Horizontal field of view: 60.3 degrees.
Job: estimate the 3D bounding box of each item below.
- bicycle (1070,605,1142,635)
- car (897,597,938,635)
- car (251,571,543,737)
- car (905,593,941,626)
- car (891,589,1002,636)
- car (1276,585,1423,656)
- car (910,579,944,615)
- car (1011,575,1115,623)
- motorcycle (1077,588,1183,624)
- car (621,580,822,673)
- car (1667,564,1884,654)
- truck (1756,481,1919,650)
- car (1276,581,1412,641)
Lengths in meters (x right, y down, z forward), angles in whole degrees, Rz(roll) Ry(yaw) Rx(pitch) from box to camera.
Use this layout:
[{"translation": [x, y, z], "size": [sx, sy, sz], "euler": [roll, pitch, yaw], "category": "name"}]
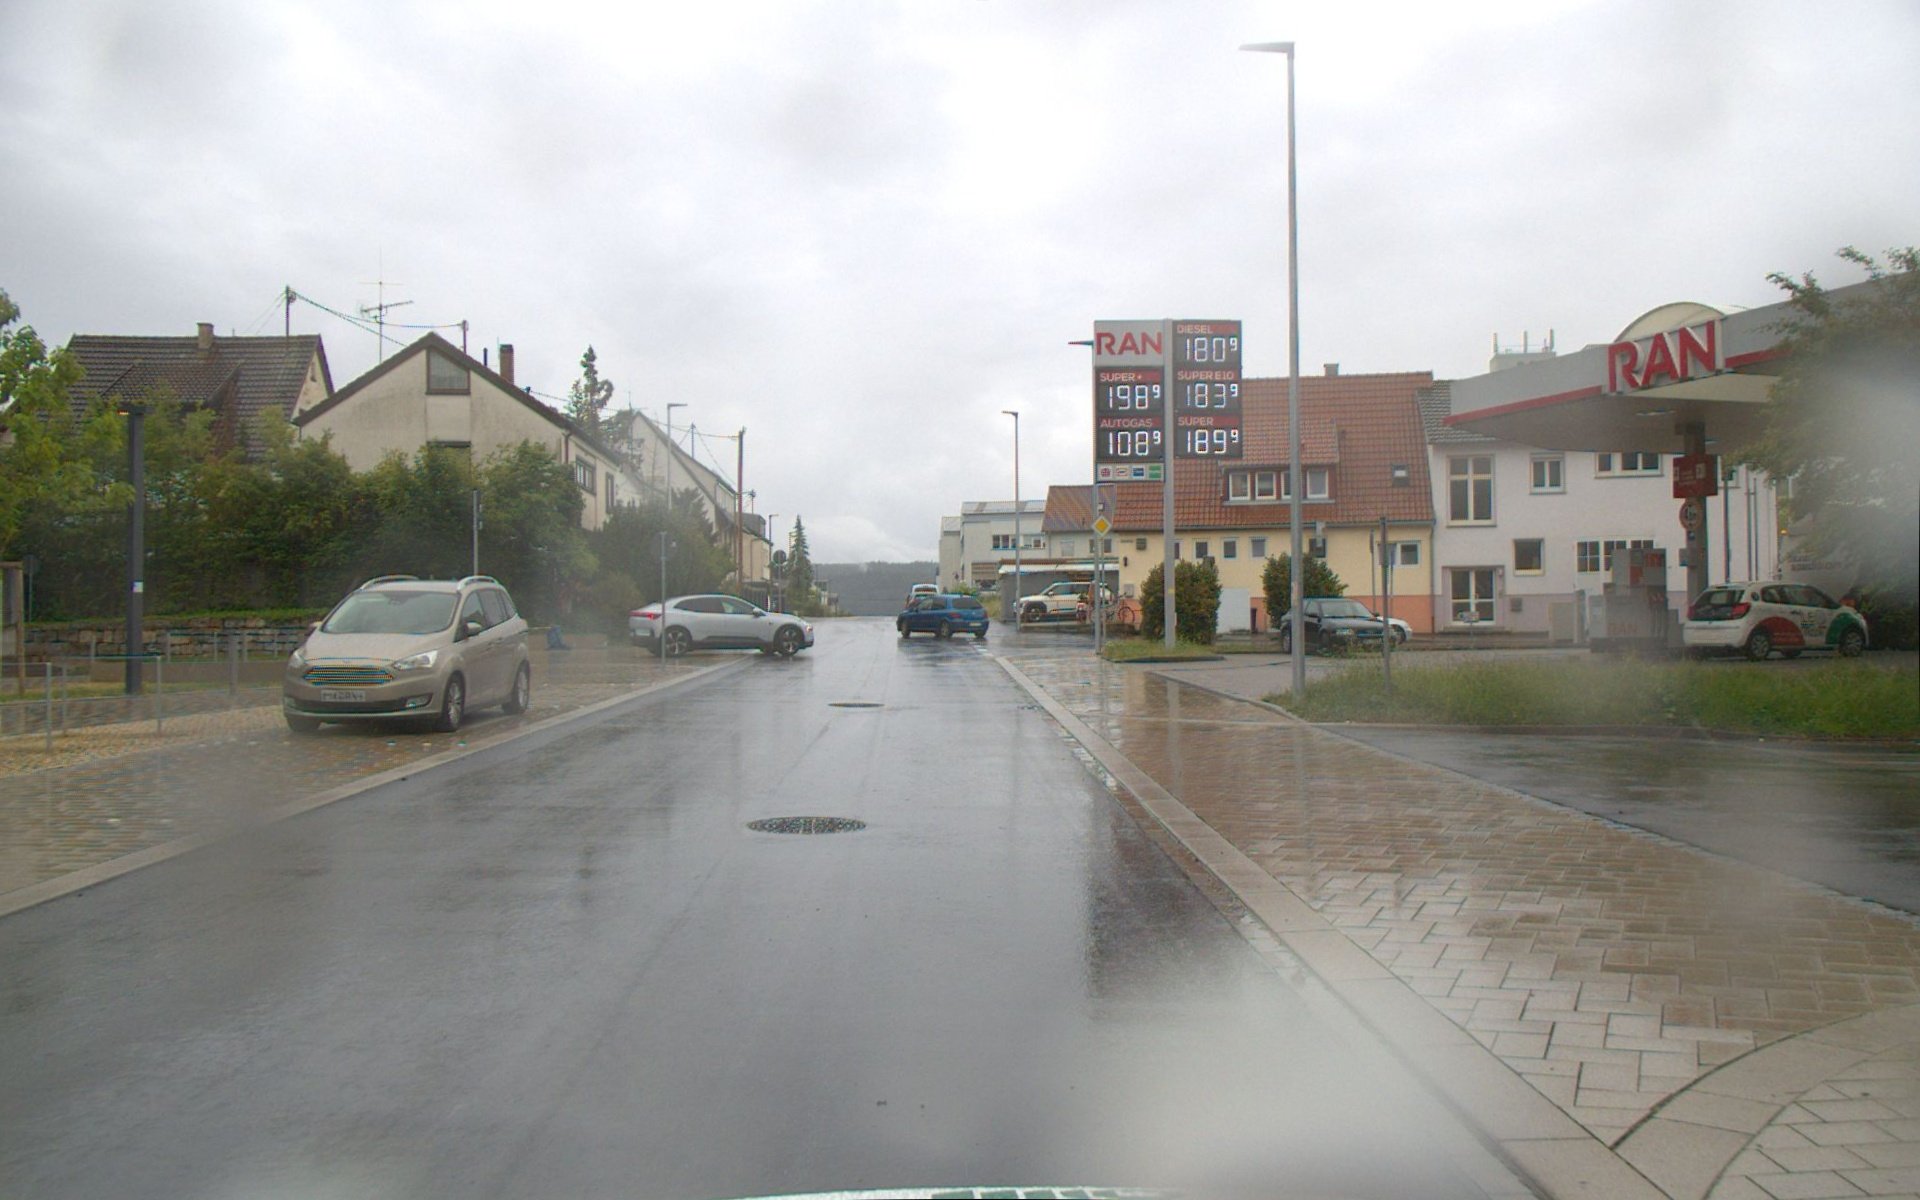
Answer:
[{"translation": [5.461, 0.742, 62.161], "size": [0.662, 1.085, 3.589], "euler": [5, -3, -32], "category": "bicycle"}, {"translation": [-2.157, 0.849, 84.587], "size": [1.953, 1.736, 3.998], "euler": [3, -2, -1], "category": "car"}, {"translation": [-6.252, 0.546, 18.910], "size": [1.953, 1.657, 4.152], "euler": [-1, 0, -1], "category": "car"}, {"translation": [-2.167, 0.576, 97.342], "size": [1.953, 1.736, 3.998], "euler": [3, -2, -1], "category": "car"}, {"translation": [-0.527, 0.443, 59.807], "size": [1.842, 1.519, 3.939], "euler": [5, -3, -42], "category": "car"}, {"translation": [9.562, 0.538, 40.920], "size": [1.959, 1.579, 3.987], "euler": [4, -2, -12], "category": "car"}, {"translation": [-1.839, -0.156, 91.189], "size": [1.747, 1.736, 3.998], "euler": [3, -2, -1], "category": "car"}, {"translation": [4.270, -0.027, 68.766], "size": [4.032, 1.736, 1.787], "euler": [3, -2, -4], "category": "car"}, {"translation": [6.612, 0.230, 64.436], "size": [3.909, 1.173, 1.092], "euler": [2, -3, 26], "category": "motorcycle"}, {"translation": [-6.110, 0.700, 42.392], "size": [4.689, 2.049, 1.986], "euler": [4, -3, -23], "category": "car"}, {"translation": [15.630, 0.201, 31.738], "size": [3.465, 1.583, 1.942], "euler": [2, -2, -21], "category": "car"}, {"translation": [22.919, -0.619, 38.999], "size": [7.597, 3.505, 2.668], "euler": [4, -2, -16], "category": "truck"}, {"translation": [11.904, 0.355, 51.494], "size": [3.902, 1.583, 1.956], "euler": [3, -2, 7], "category": "car"}]
